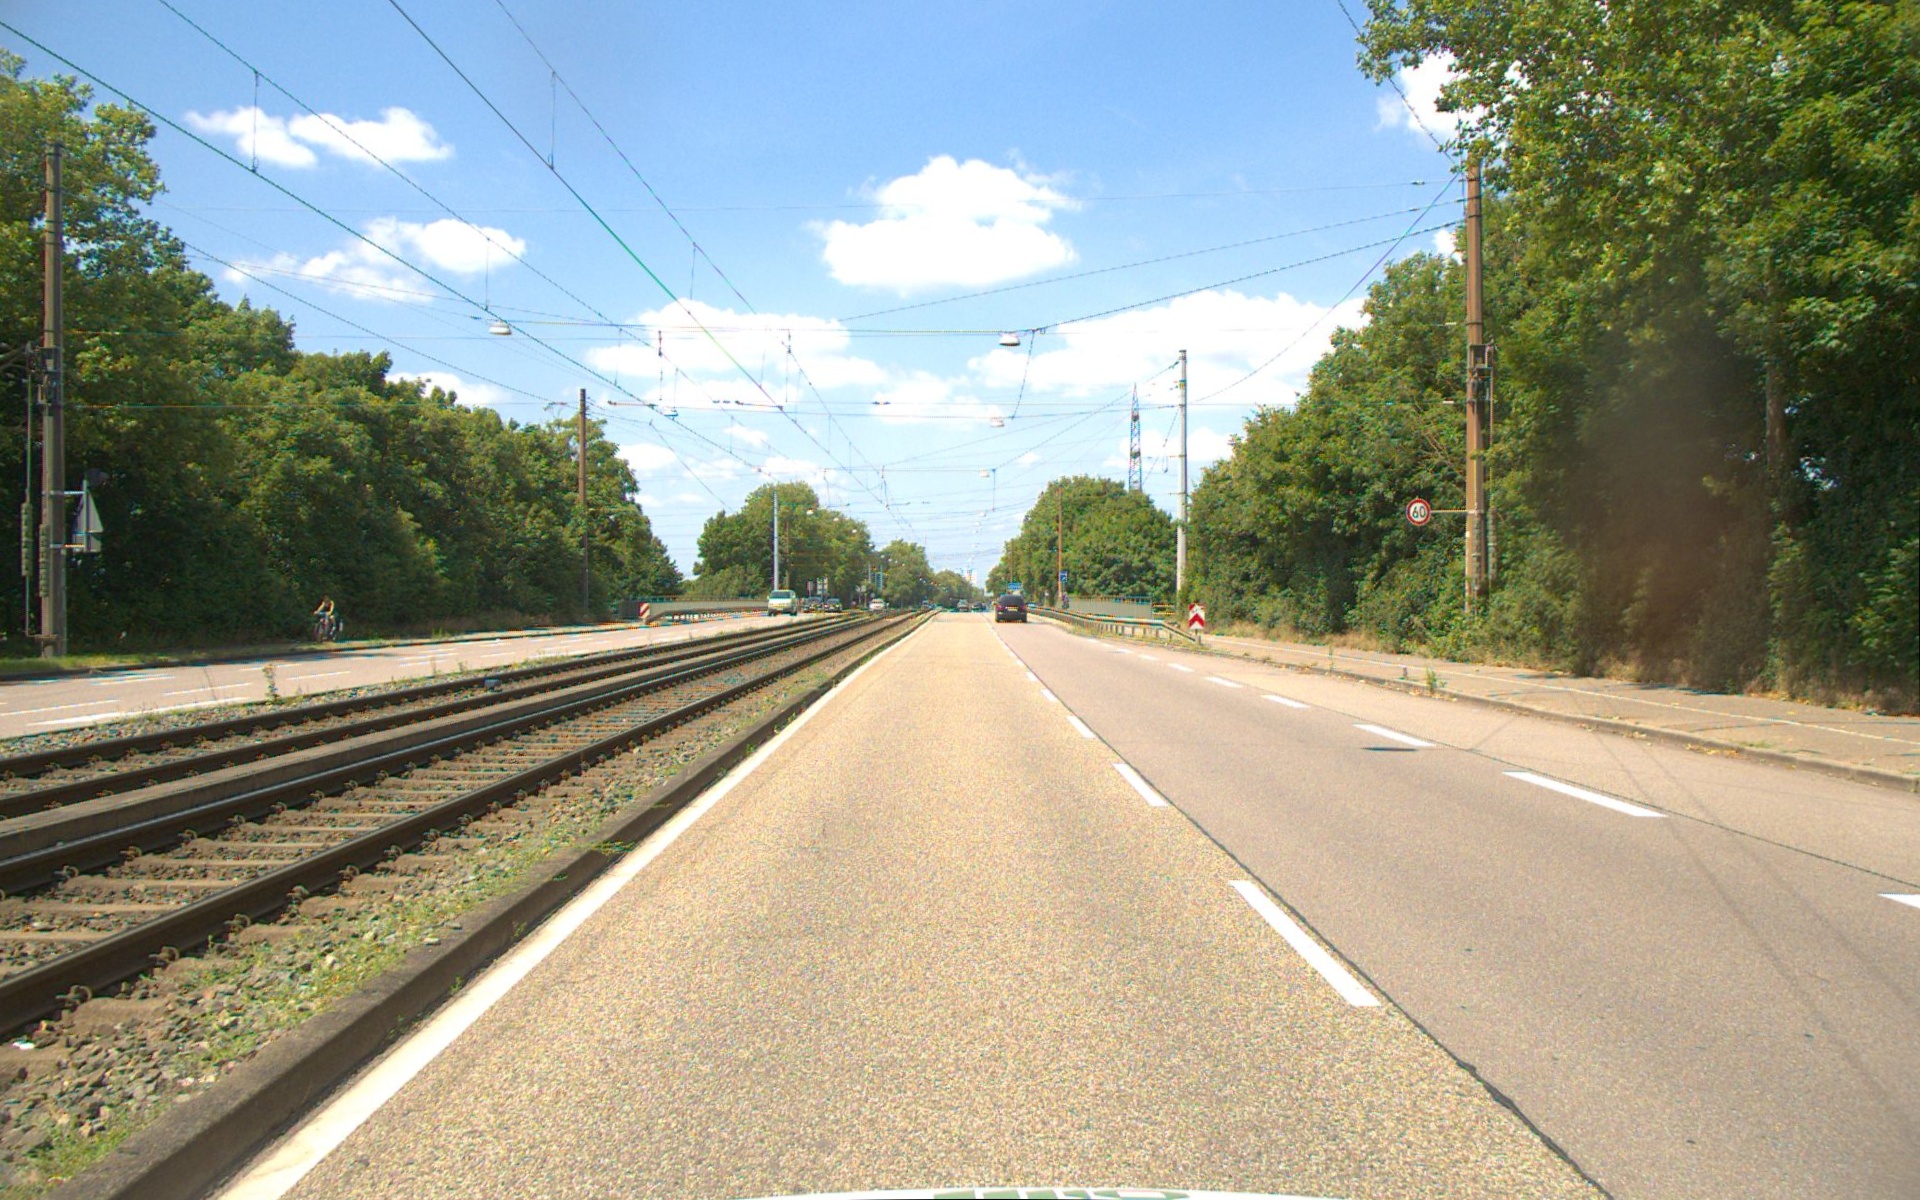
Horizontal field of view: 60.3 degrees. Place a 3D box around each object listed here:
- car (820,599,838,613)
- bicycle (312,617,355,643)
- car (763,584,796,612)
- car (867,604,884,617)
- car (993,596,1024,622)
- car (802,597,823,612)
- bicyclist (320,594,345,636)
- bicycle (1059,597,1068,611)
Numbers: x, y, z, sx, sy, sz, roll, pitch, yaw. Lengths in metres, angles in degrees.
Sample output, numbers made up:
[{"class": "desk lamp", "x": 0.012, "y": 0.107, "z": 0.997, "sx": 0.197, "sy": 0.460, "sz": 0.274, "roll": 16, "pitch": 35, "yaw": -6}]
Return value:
[{"class": "car", "x": -13.583, "y": 0.593, "z": 171.754, "sx": 1.542, "sy": 1.424, "sz": 3.938, "roll": -1, "pitch": 0, "yaw": 0}, {"class": "bicycle", "x": -21.094, "y": 1.005, "z": 55.700, "sx": 0.574, "sy": 0.833, "sz": 2.069, "roll": -1, "pitch": 0, "yaw": 2}, {"class": "car", "x": -13.302, "y": -0.125, "z": 122.254, "sx": 1.774, "sy": 1.959, "sz": 5.179, "roll": -1, "pitch": 0, "yaw": 0}, {"class": "car", "x": -9.993, "y": 1.235, "z": 196.511, "sx": 1.676, "sy": 1.445, "sz": 4.624, "roll": -1, "pitch": 0, "yaw": 0}, {"class": "car", "x": 2.725, "y": 0.498, "z": 93.538, "sx": 1.554, "sy": 1.366, "sz": 3.271, "roll": -1, "pitch": 0, "yaw": -1}, {"class": "car", "x": -13.568, "y": 0.409, "z": 151.830, "sx": 1.531, "sy": 1.371, "sz": 3.929, "roll": -1, "pitch": 0, "yaw": 0}, {"class": "bicyclist", "x": -21.109, "y": 0.512, "z": 55.626, "sx": 0.557, "sy": 1.391, "sz": 0.631, "roll": 1, "pitch": -1, "yaw": 2}, {"class": "bicycle", "x": 7.909, "y": 0.319, "z": 126.749, "sx": 0.548, "sy": 1.042, "sz": 1.848, "roll": 0, "pitch": -1, "yaw": 0}]
